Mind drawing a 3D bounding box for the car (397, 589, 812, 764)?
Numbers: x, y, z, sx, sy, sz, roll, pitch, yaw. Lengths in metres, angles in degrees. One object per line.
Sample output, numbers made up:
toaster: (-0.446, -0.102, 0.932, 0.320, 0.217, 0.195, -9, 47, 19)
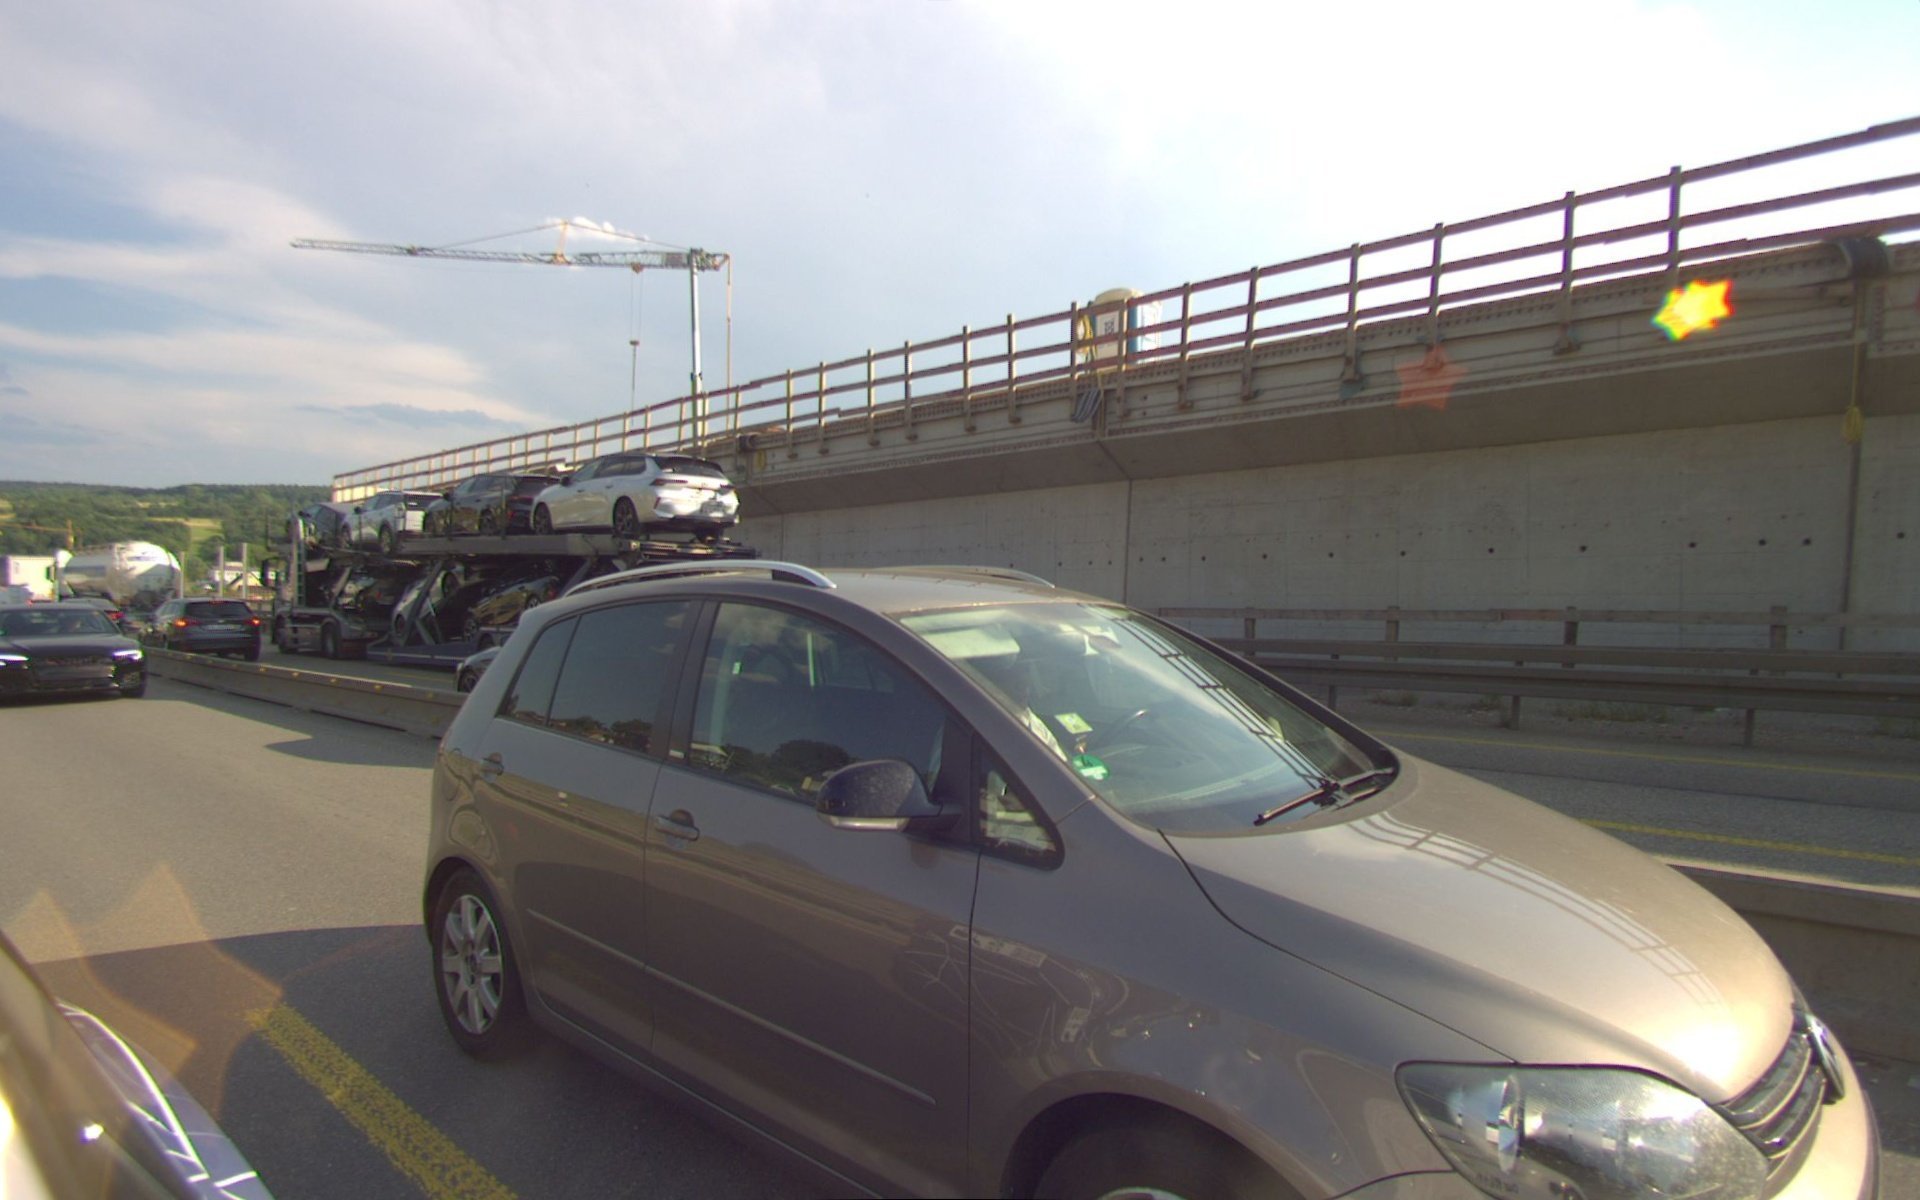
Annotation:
car: (-4.026, 0.670, 11.108, 4.822, 1.563, 1.751, 0, 1, 33)

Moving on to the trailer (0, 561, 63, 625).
trailer: (-64.597, -0.486, 69.500, 13.770, 4.067, 2.894, 0, 1, 42)

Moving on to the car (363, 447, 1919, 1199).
car: (0.051, 0.642, 2.803, 4.269, 1.600, 1.663, 1, 0, 41)

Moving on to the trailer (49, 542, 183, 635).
trailer: (-39.807, -0.516, 47.464, 13.435, 3.879, 2.625, 0, 1, 41)

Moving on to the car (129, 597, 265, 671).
car: (-18.120, 0.731, 23.959, 4.337, 1.589, 1.738, 0, 1, 41)

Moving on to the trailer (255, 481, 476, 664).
trailer: (-15.338, -0.641, 25.862, 7.205, 4.061, 2.742, 0, 1, 41)

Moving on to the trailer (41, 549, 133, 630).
trailer: (-44.533, -0.534, 51.577, 6.425, 3.879, 2.625, 0, 1, 41)

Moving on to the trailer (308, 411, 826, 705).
trailer: (-8.921, -0.617, 20.237, 15.757, 4.061, 2.742, 0, 1, 41)

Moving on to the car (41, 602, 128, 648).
car: (-30.304, 0.801, 34.974, 4.598, 1.456, 1.691, 0, 1, 42)

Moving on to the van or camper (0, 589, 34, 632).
van or camper: (-47.076, 0.494, 49.565, 5.291, 2.029, 1.839, 0, 1, 40)

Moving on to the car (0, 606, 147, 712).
car: (-14.284, 0.811, 15.727, 4.347, 1.430, 1.849, 0, 0, 41)
